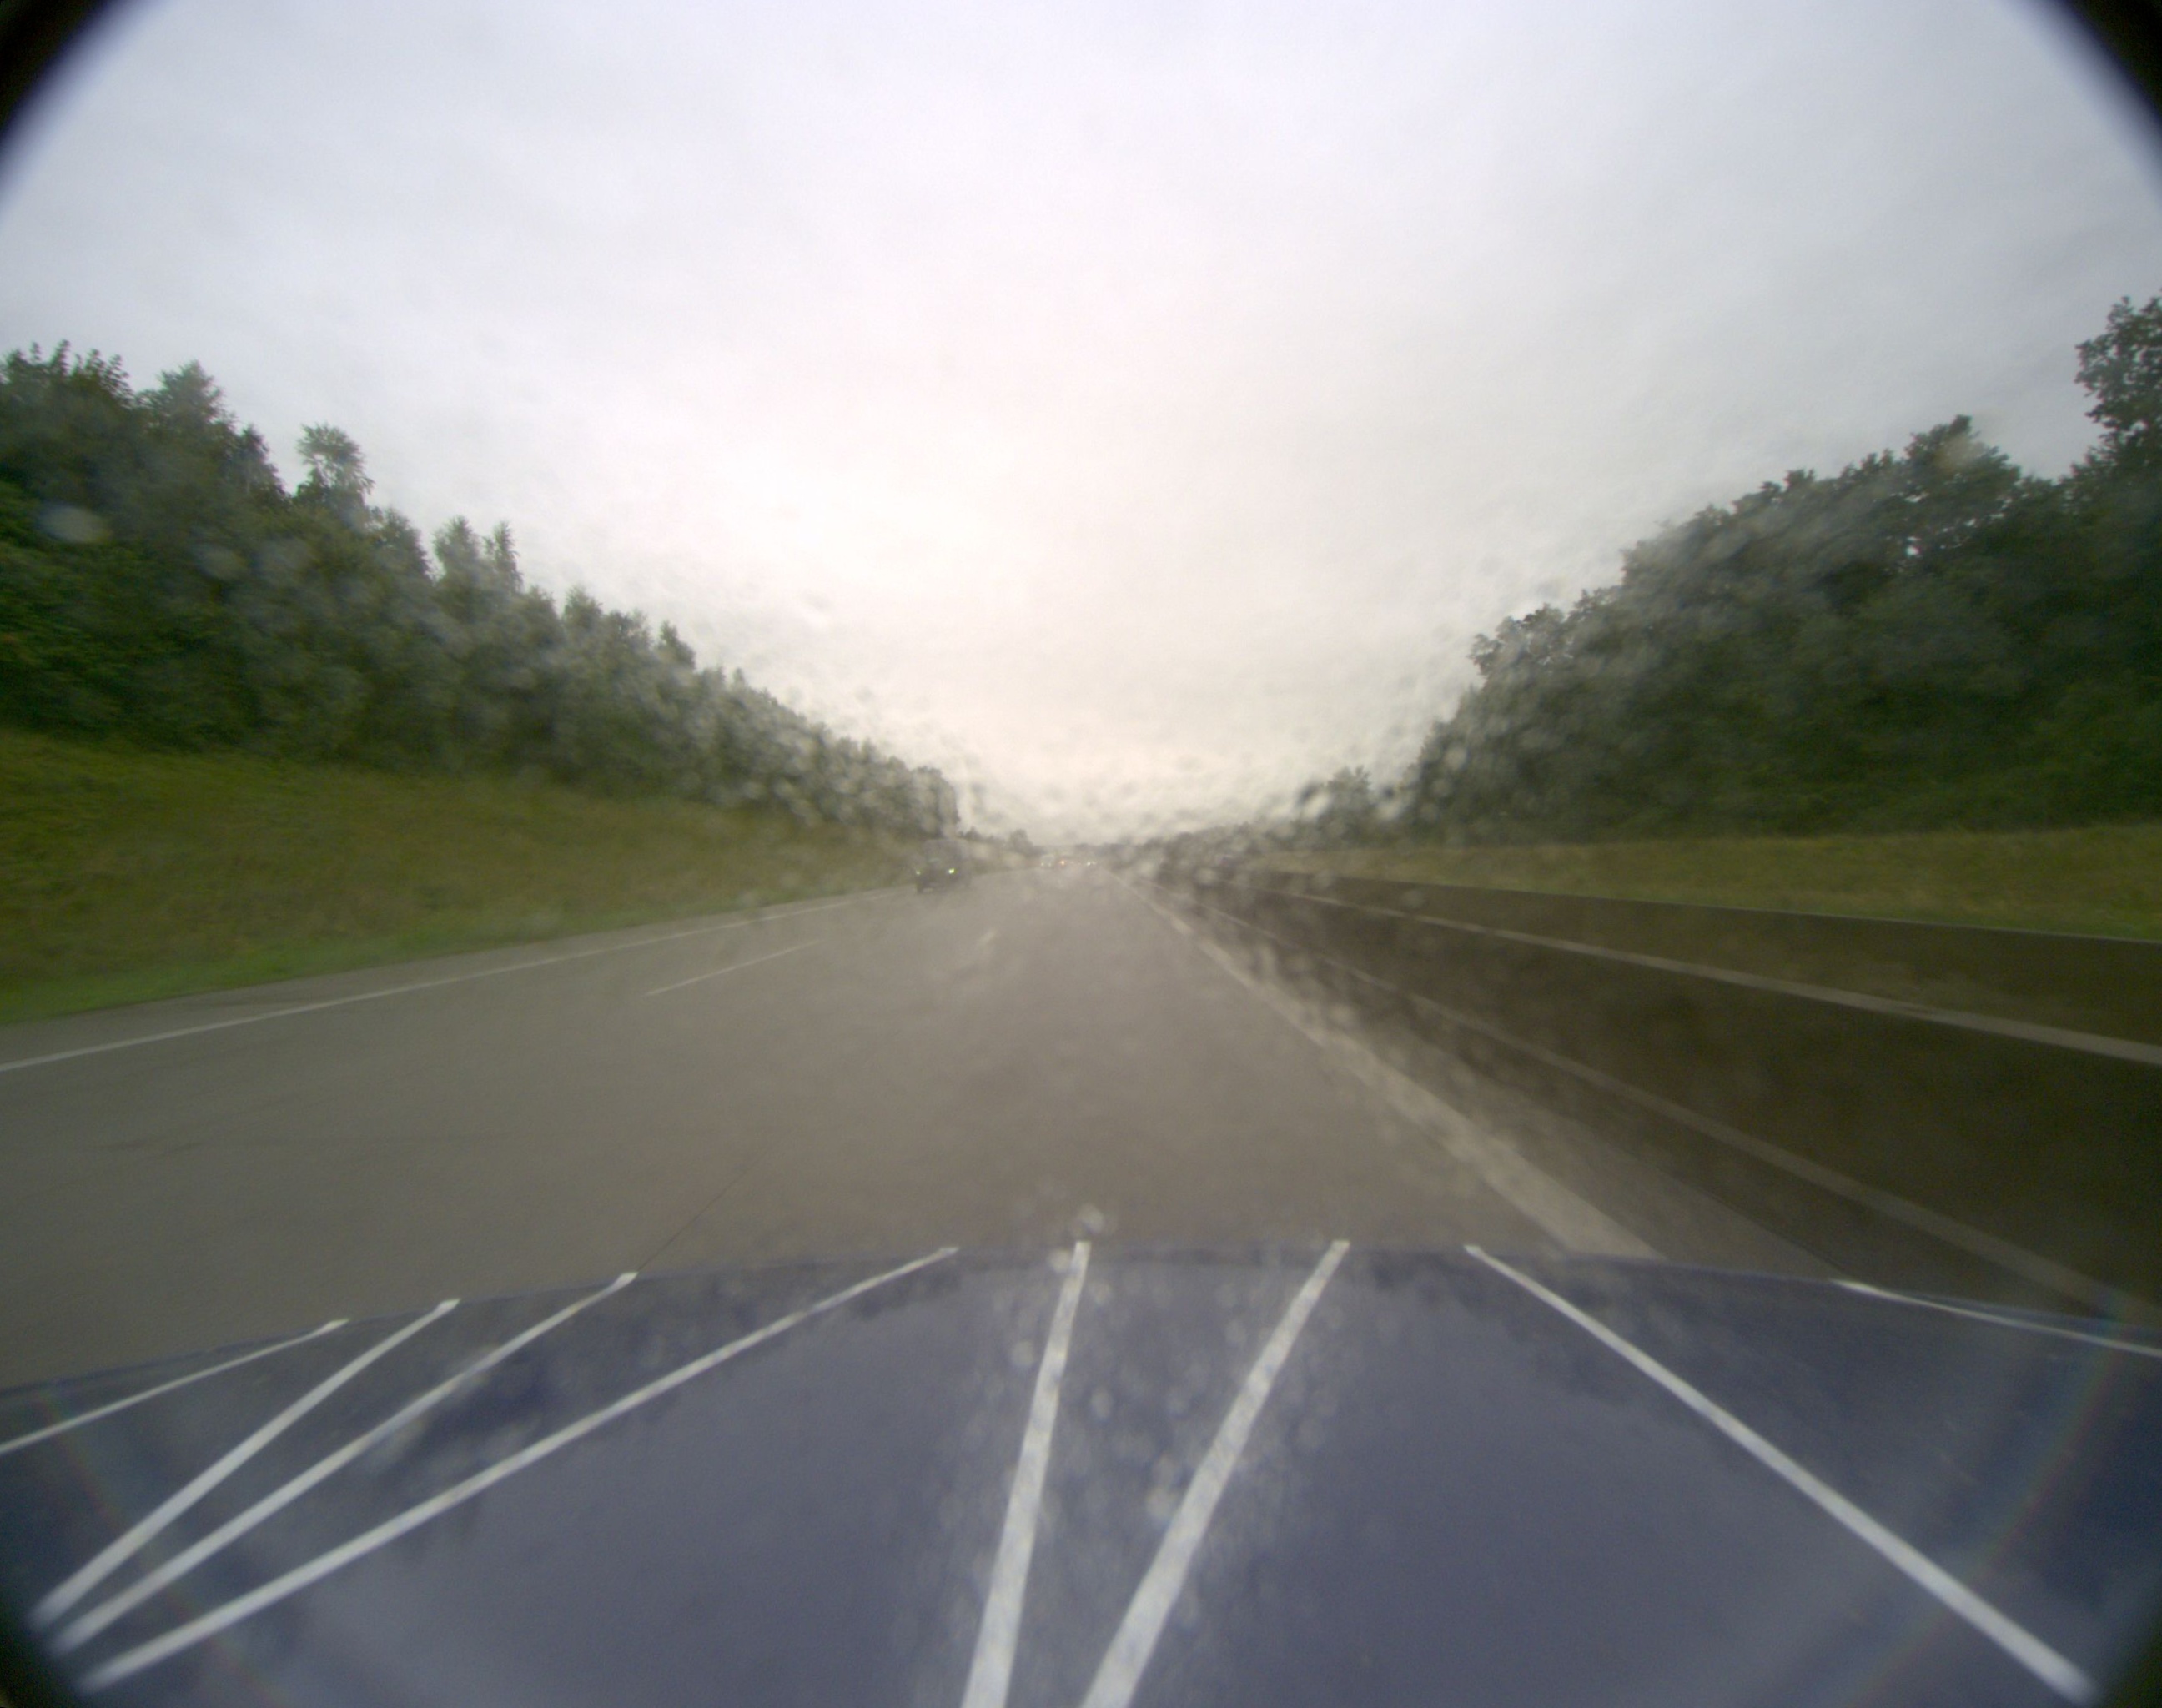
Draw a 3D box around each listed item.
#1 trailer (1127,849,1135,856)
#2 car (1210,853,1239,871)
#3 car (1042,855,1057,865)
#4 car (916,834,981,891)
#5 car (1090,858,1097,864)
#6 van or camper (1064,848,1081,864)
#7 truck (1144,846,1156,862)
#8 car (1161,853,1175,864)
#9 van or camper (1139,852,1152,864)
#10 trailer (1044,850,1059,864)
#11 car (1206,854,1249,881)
[{"bbox_3d":[16.276,-0.425,246.983,2.043,2.359,5.833,0,0,1],"label":"trailer"},{"bbox_3d":[13.779,0.767,73.105,1.884,1.655,4.687,1,1,1],"label":"car"},{"bbox_3d":[-5.352,0.986,129.271,1.998,1.575,5.954,-2,0,2],"label":"car"},{"bbox_3d":[-6.688,0.426,39.184,1.945,2.643,6.587,-2,0,2],"label":"car"},{"bbox_3d":[2.884,1.585,177.815,1.733,1.450,4.672,-1,0,1],"label":"car"},{"bbox_3d":[-1.287,0.276,118.718,2.233,2.537,7.950,0,0,2],"label":"van or camper"},{"bbox_3d":[19.150,0.024,211.367,2.591,4.116,8.592,2,0,0],"label":"truck"},{"bbox_3d":[14.239,0.722,124.758,1.884,1.655,4.687,1,0,1],"label":"car"},{"bbox_3d":[14.852,0.980,176.401,2.418,2.720,7.713,0,1,1],"label":"van or camper"},{"bbox_3d":[-5.181,0.462,135.269,2.348,2.445,5.939,0,1,2],"label":"trailer"},{"bbox_3d":[8.914,0.769,46.493,1.777,1.566,4.687,0,0,1],"label":"car"}]
